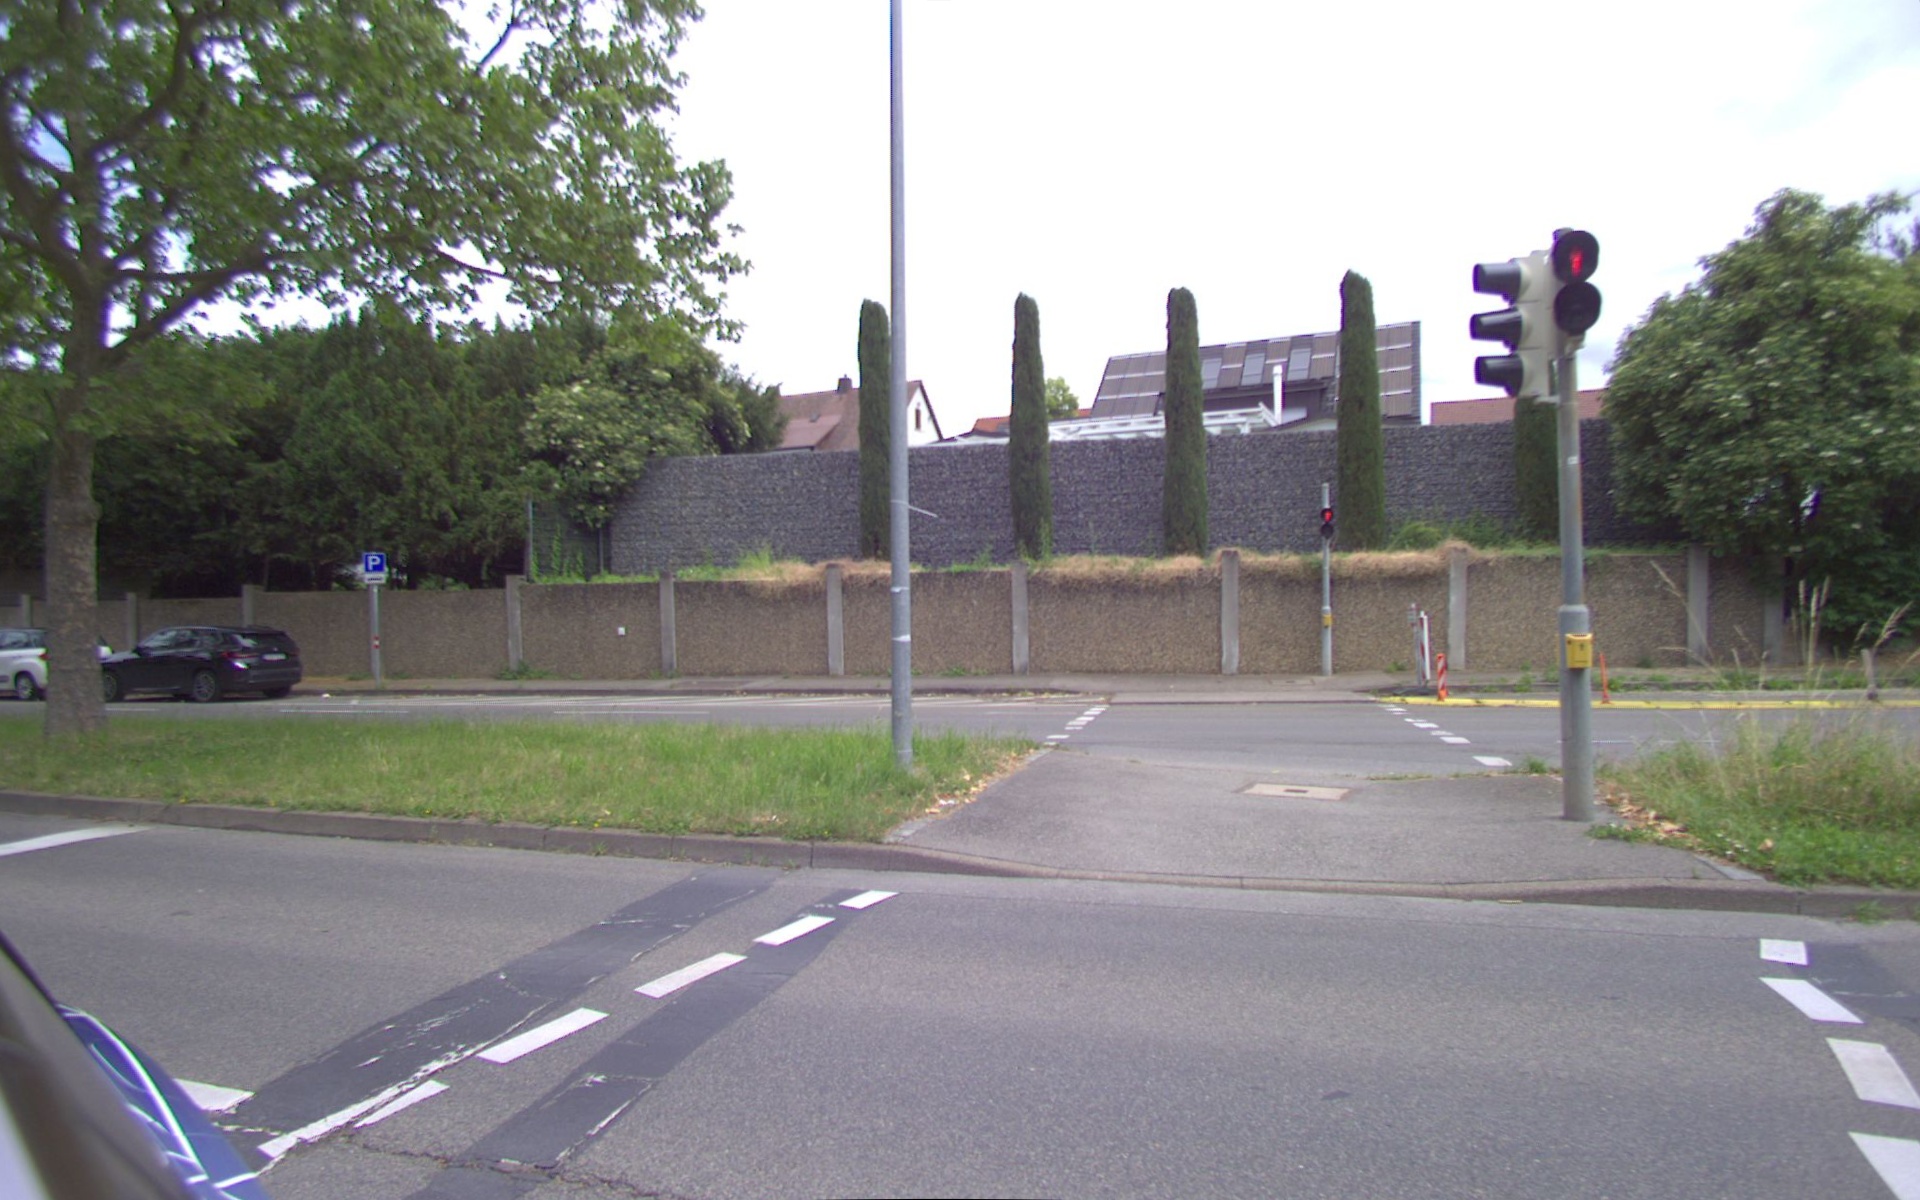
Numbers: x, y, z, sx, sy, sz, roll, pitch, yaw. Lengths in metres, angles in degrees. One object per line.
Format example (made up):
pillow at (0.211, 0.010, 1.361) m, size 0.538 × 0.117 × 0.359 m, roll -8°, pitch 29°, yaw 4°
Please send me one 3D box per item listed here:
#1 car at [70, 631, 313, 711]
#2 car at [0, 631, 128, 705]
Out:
car at (-16.595, 1.526, 21.916) m, size 4.417 × 1.628 × 1.790 m, roll -2°, pitch -2°, yaw 13°
car at (-21.847, 1.570, 23.538) m, size 4.178 × 1.628 × 1.788 m, roll -2°, pitch -2°, yaw 15°
